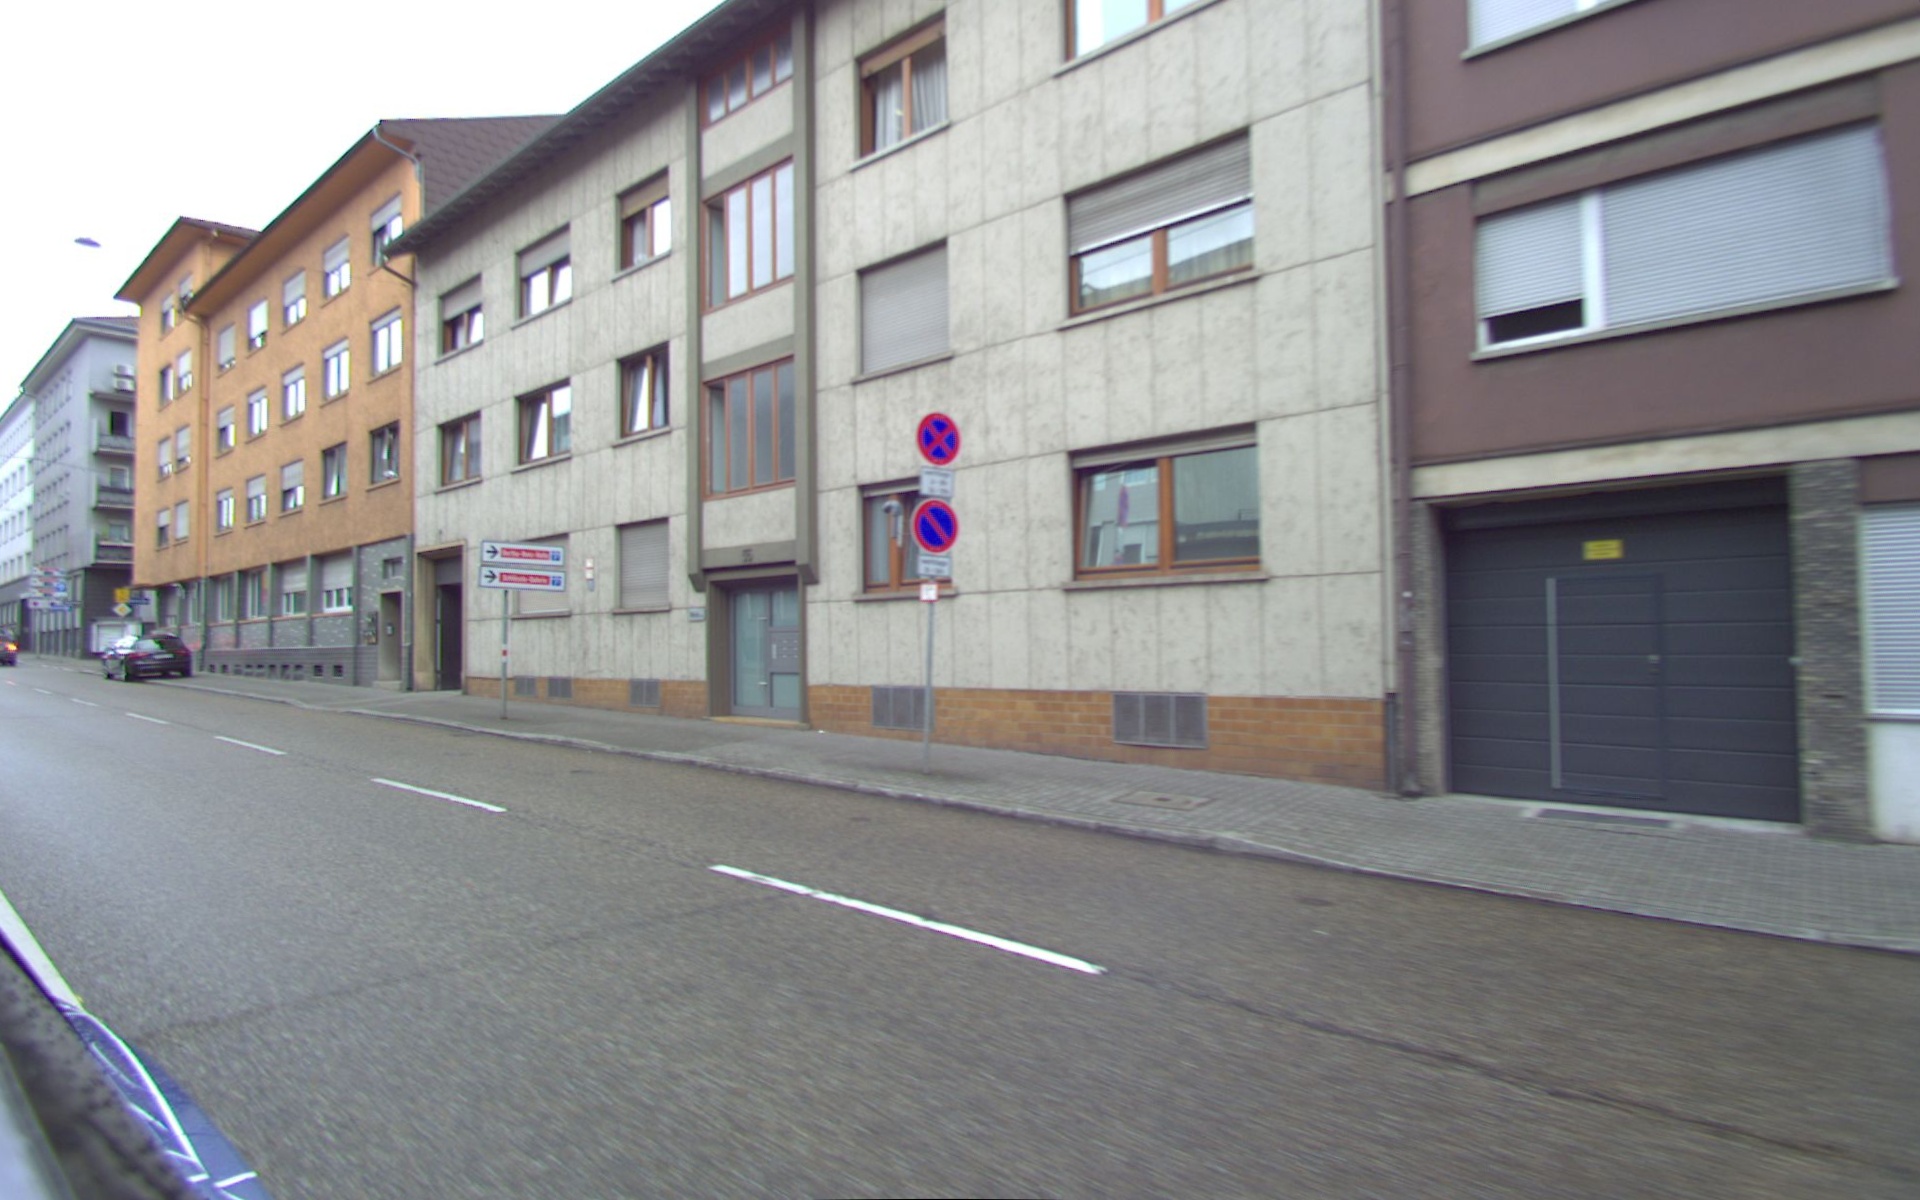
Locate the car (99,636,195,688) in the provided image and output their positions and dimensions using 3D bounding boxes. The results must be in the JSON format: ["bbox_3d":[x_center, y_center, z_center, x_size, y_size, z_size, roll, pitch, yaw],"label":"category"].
[{"bbox_3d":[-26.834,1.990,33.370,4.216,1.485,1.776,-1,1,42],"label":"car"}]

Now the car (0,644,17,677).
[{"bbox_3d":[-44.028,2.676,45.606,4.362,1.381,1.677,-1,-4,40],"label":"car"}]

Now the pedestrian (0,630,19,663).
[{"bbox_3d":[-61.161,2.964,64.701,1.258,2.029,1.292,-1,1,41],"label":"pedestrian"}]
